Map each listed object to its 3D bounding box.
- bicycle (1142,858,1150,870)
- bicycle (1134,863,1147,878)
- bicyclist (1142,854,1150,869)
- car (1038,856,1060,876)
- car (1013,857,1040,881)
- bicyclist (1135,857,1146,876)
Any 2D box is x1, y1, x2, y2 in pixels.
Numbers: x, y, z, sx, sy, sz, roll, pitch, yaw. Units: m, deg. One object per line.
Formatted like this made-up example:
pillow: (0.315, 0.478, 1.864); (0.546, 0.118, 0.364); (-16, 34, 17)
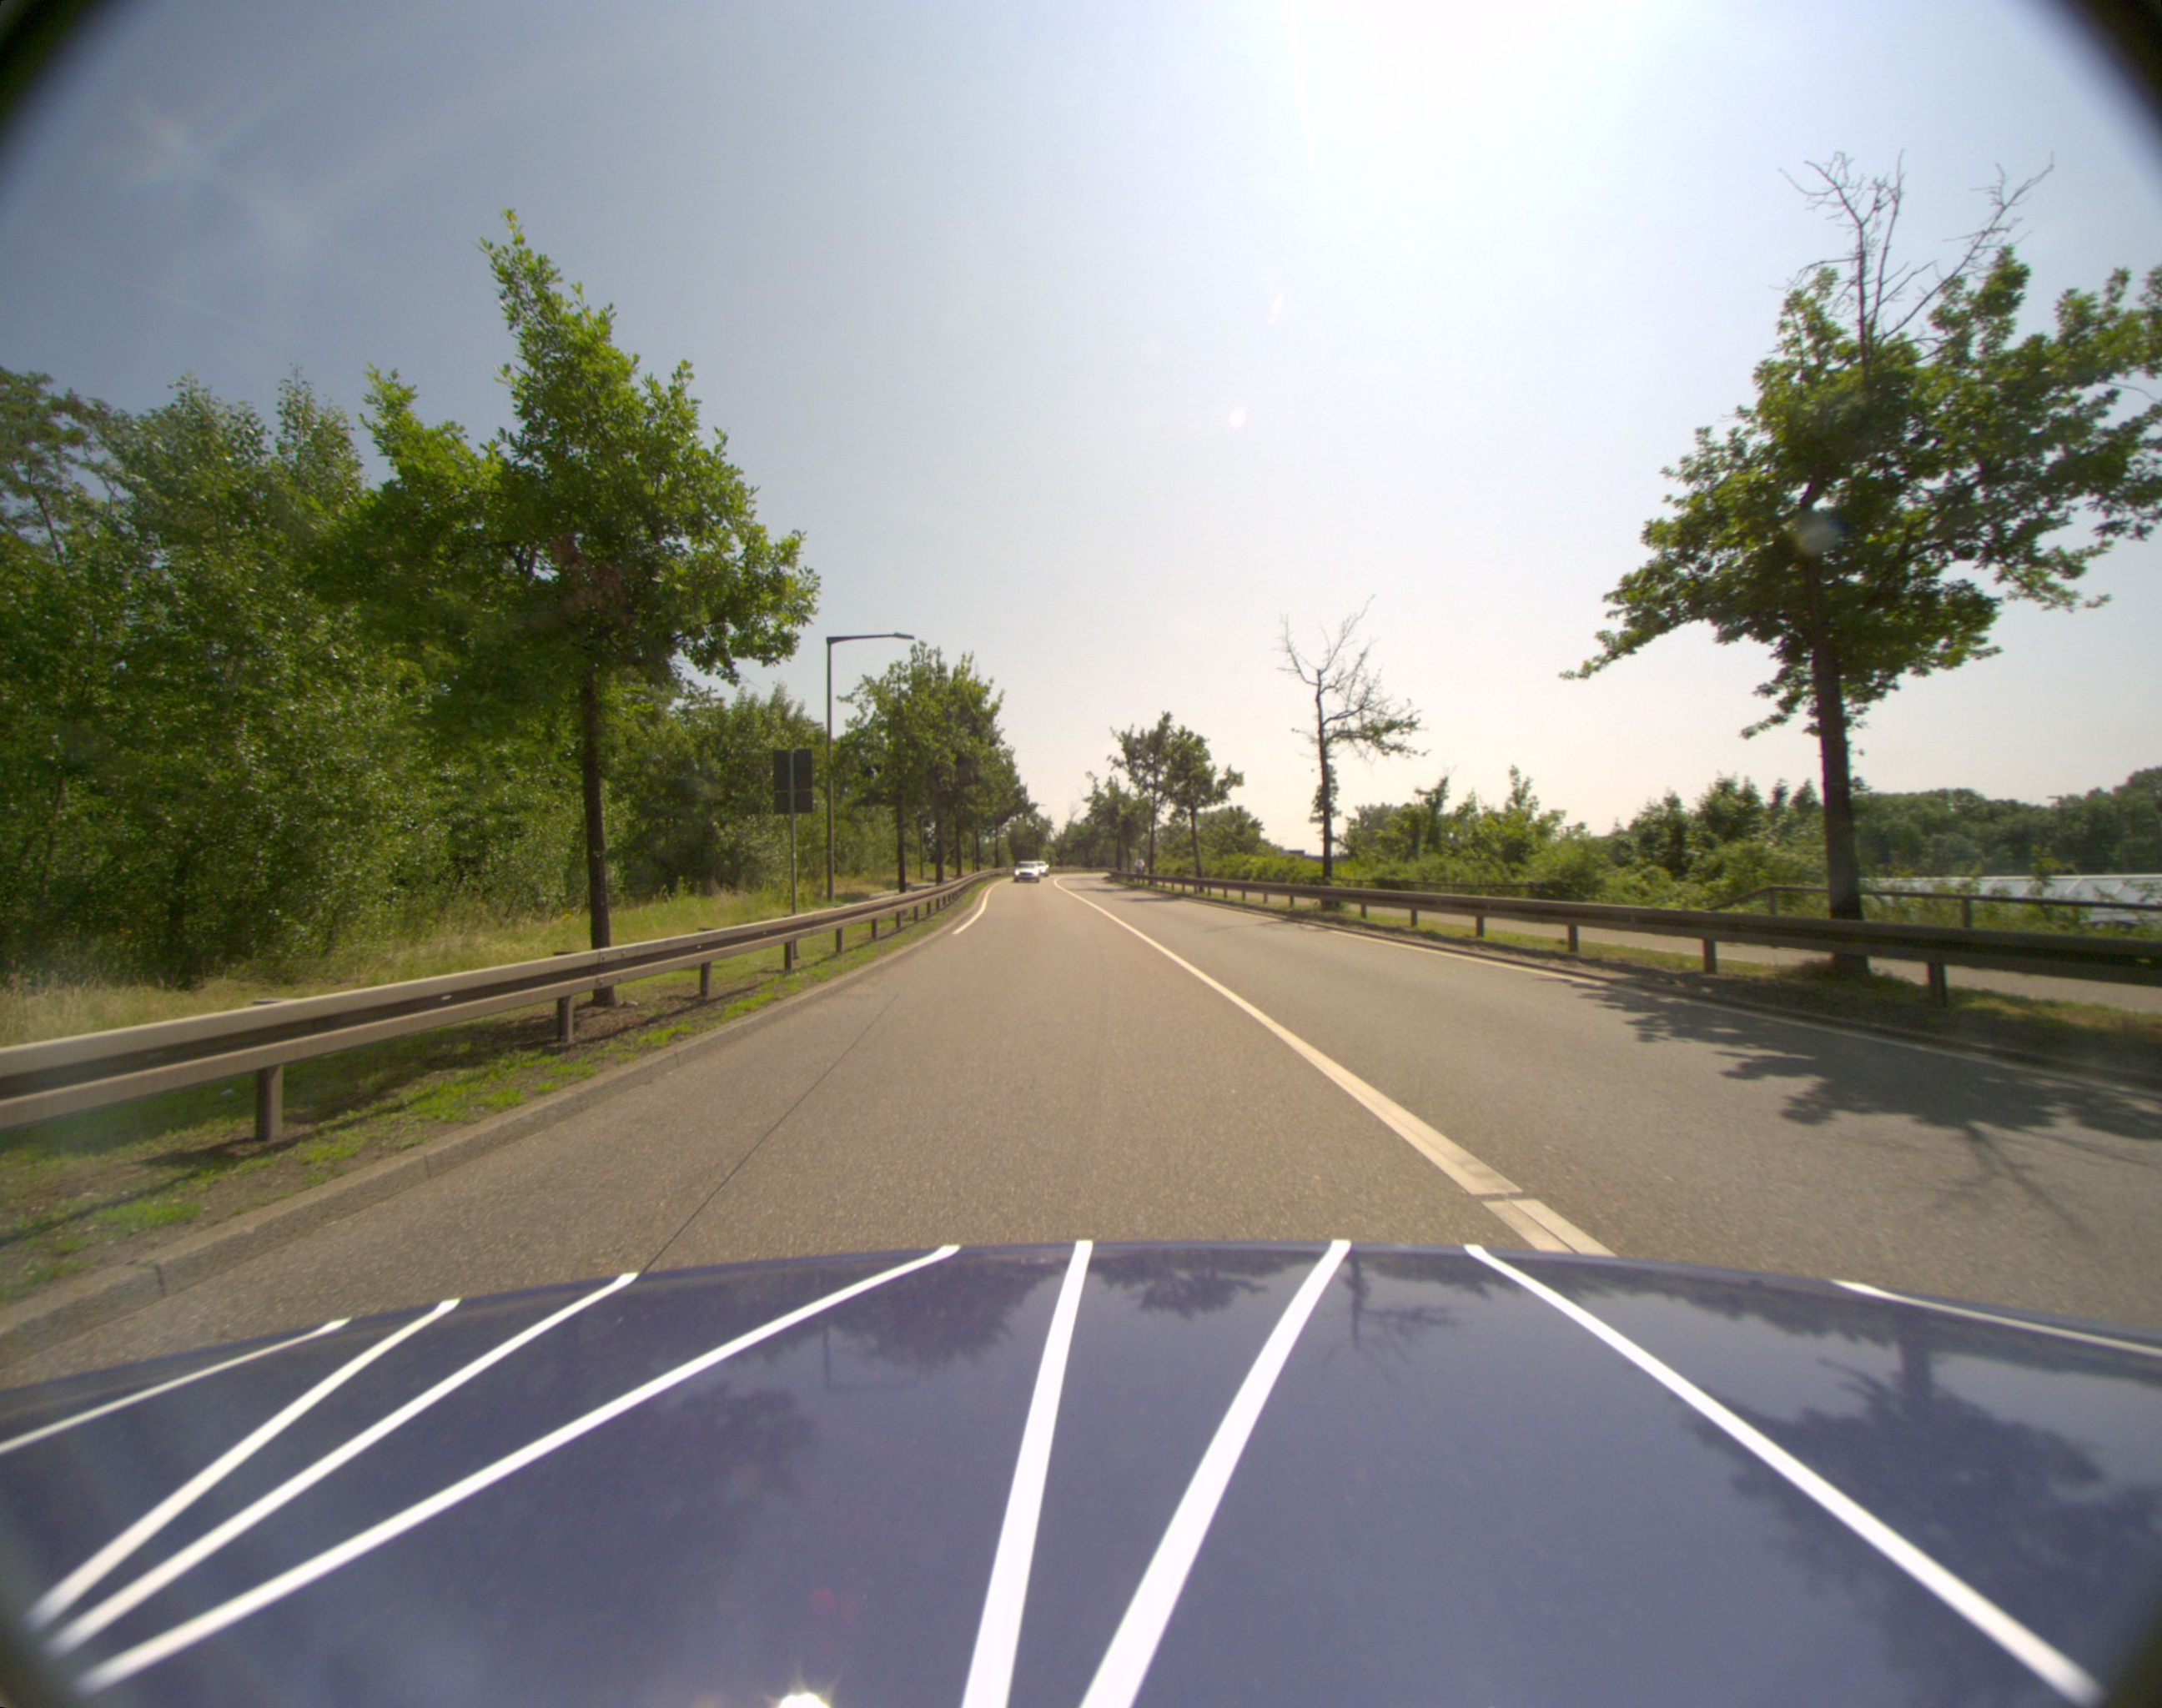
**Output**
bicycle: (6.568, 0.998, 76.726); (0.735, 1.274, 2.047); (0, 0, 5)
bicycle: (4.648, 1.250, 59.602); (0.736, 1.110, 2.046); (2, 0, -1)
bicyclist: (6.558, 0.771, 76.678); (0.743, 1.480, 0.757); (0, 0, 5)
car: (-2.967, 1.082, 71.173); (1.798, 1.772, 4.293); (0, 0, 1)
car: (-3.745, 1.017, 52.415); (1.763, 1.490, 4.231); (-1, 1, -3)
bicyclist: (4.664, 0.943, 59.566); (0.731, 1.457, 0.824); (2, 1, -2)
